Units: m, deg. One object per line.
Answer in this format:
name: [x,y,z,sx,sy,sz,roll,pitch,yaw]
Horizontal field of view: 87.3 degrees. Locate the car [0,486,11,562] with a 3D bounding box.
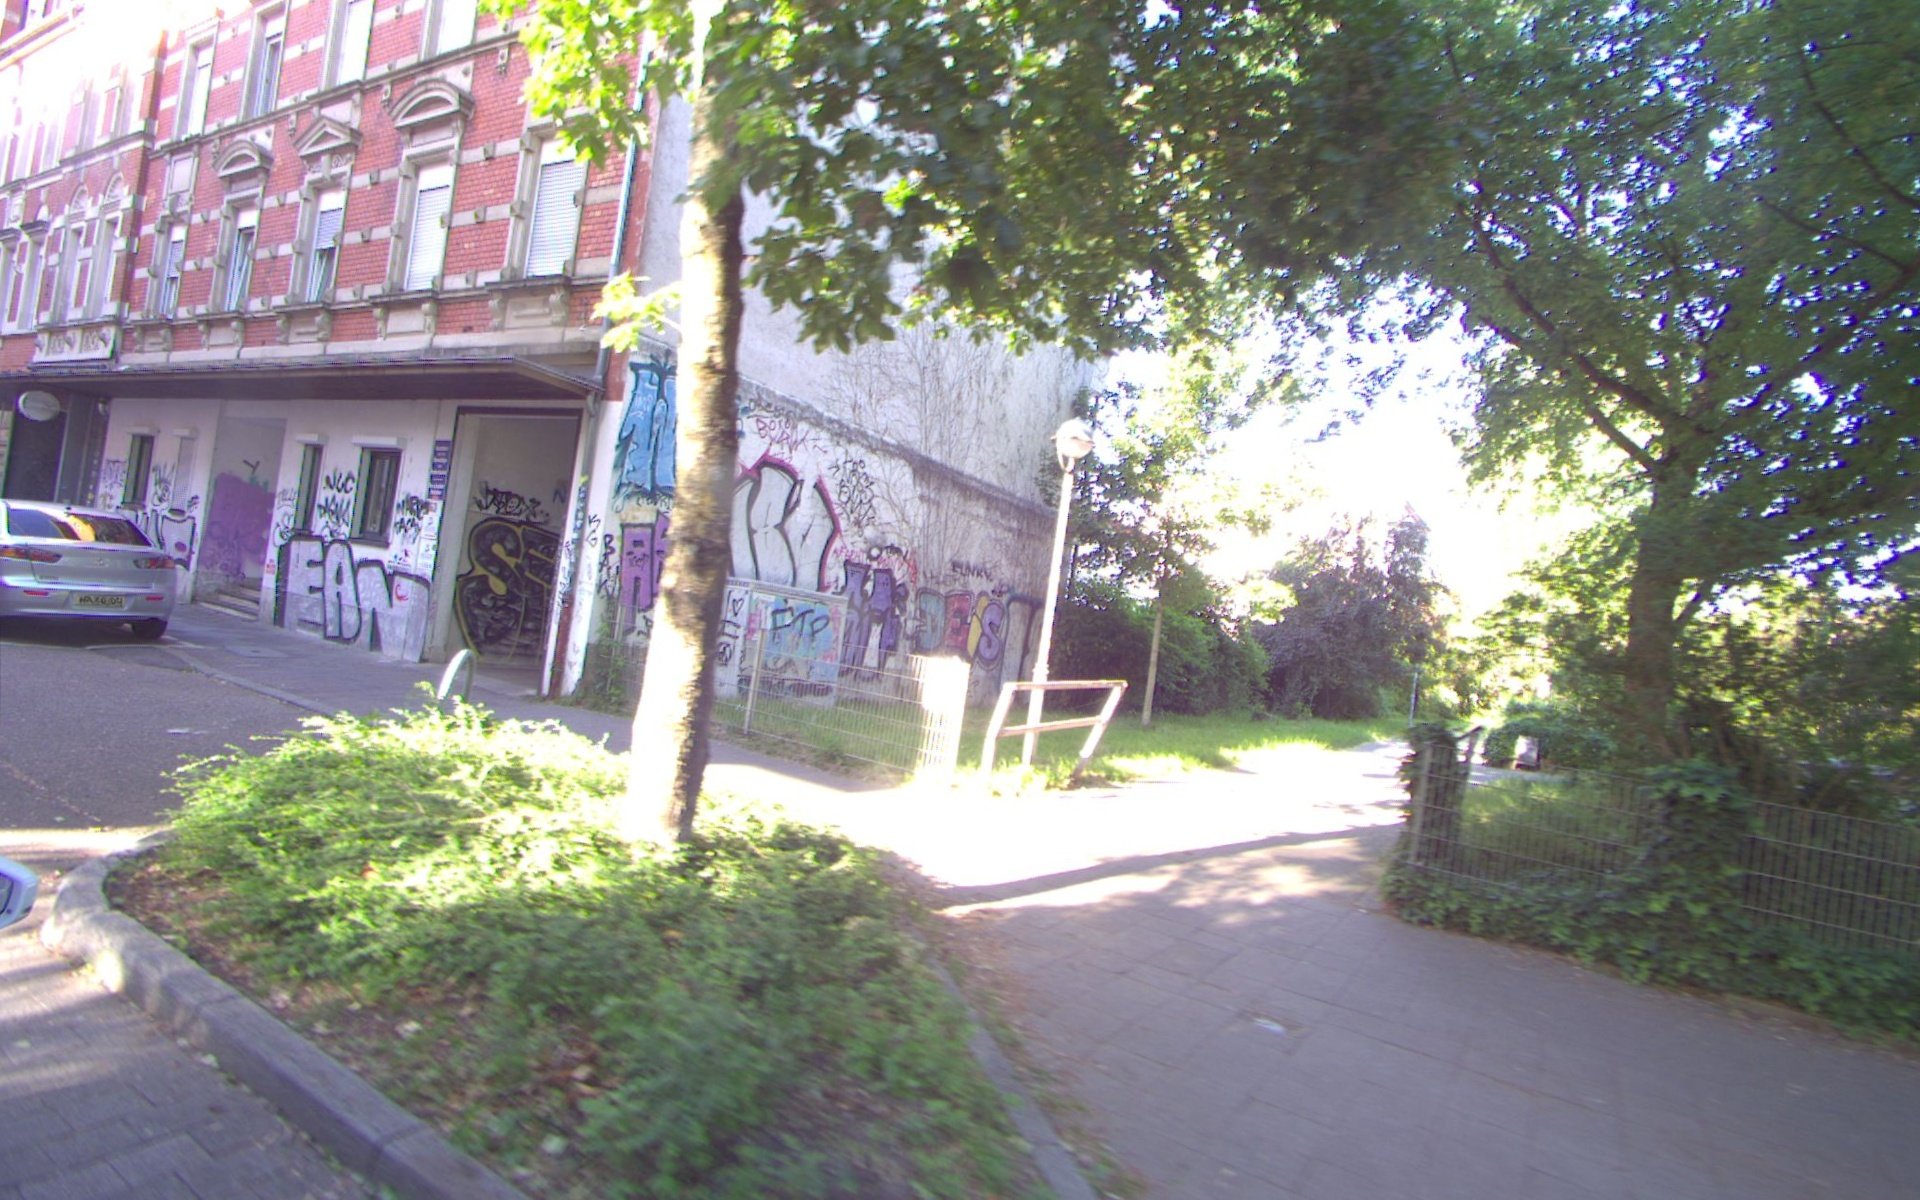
car: [-16.284,-1.128,15.366,3.807,1.675,1.642,7,-2,34]

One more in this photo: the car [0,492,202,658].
car: [-11.209,-0.441,12.173,4.326,1.580,1.724,8,-2,33]
